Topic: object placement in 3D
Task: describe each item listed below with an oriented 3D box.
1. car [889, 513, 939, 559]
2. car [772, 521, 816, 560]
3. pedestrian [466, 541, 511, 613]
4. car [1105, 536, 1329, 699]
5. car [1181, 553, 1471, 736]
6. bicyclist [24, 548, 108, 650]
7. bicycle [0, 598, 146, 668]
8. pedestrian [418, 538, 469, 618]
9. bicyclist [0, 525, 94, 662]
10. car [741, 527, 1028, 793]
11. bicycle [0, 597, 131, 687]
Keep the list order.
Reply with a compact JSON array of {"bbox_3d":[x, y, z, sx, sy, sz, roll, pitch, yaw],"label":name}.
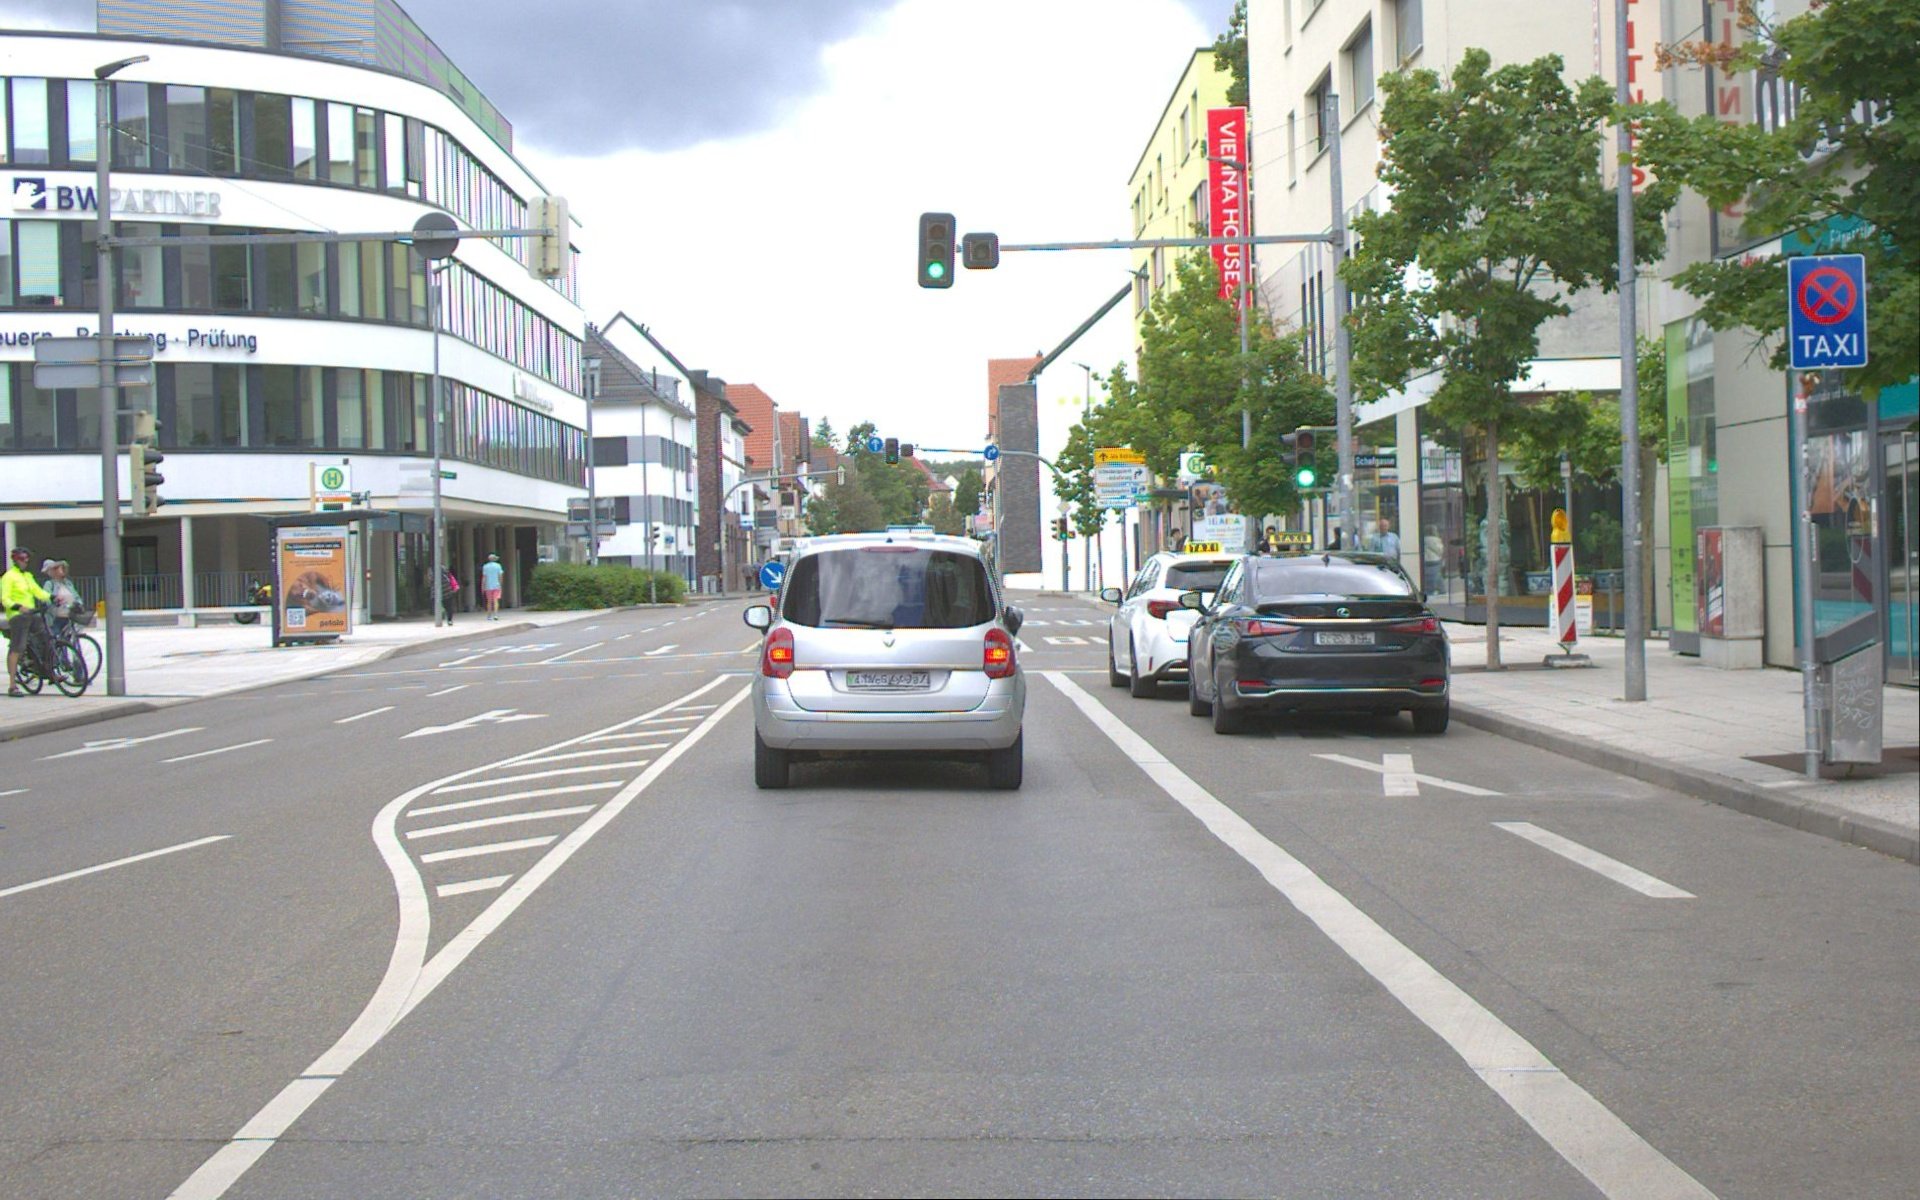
[{"bbox_3d":[-2.075,-2.881,155.255,2.170,2.007,4.258,-1,1,-1],"label":"car"},{"bbox_3d":[-9.050,-3.248,187.440,2.170,2.007,4.258,-1,1,-1],"label":"car"},{"bbox_3d":[-12.247,-0.599,89.388,0.960,1.827,1.250,-1,1,-1],"label":"pedestrian"},{"bbox_3d":[2.514,0.130,34.541,1.877,1.503,4.000,1,1,-1],"label":"car"},{"bbox_3d":[2.908,0.313,28.113,1.877,1.330,4.000,1,1,-1],"label":"car"},{"bbox_3d":[-11.838,-0.018,45.516,0.651,1.322,0.828,0,1,36],"label":"bicyclist"},{"bbox_3d":[-11.975,0.429,45.626,2.522,0.895,0.828,0,1,37],"label":"bicycle"},{"bbox_3d":[-12.108,-0.524,80.616,0.960,1.827,1.250,-1,1,-1],"label":"pedestrian"},{"bbox_3d":[-11.348,-0.081,42.317,1.006,1.655,0.932,1,0,-41],"label":"bicyclist"},{"bbox_3d":[-0.548,0.320,22.169,1.669,1.549,3.642,1,1,-3],"label":"car"},{"bbox_3d":[-11.417,0.501,42.382,1.006,1.015,3.129,1,1,-41],"label":"bicycle"}]
